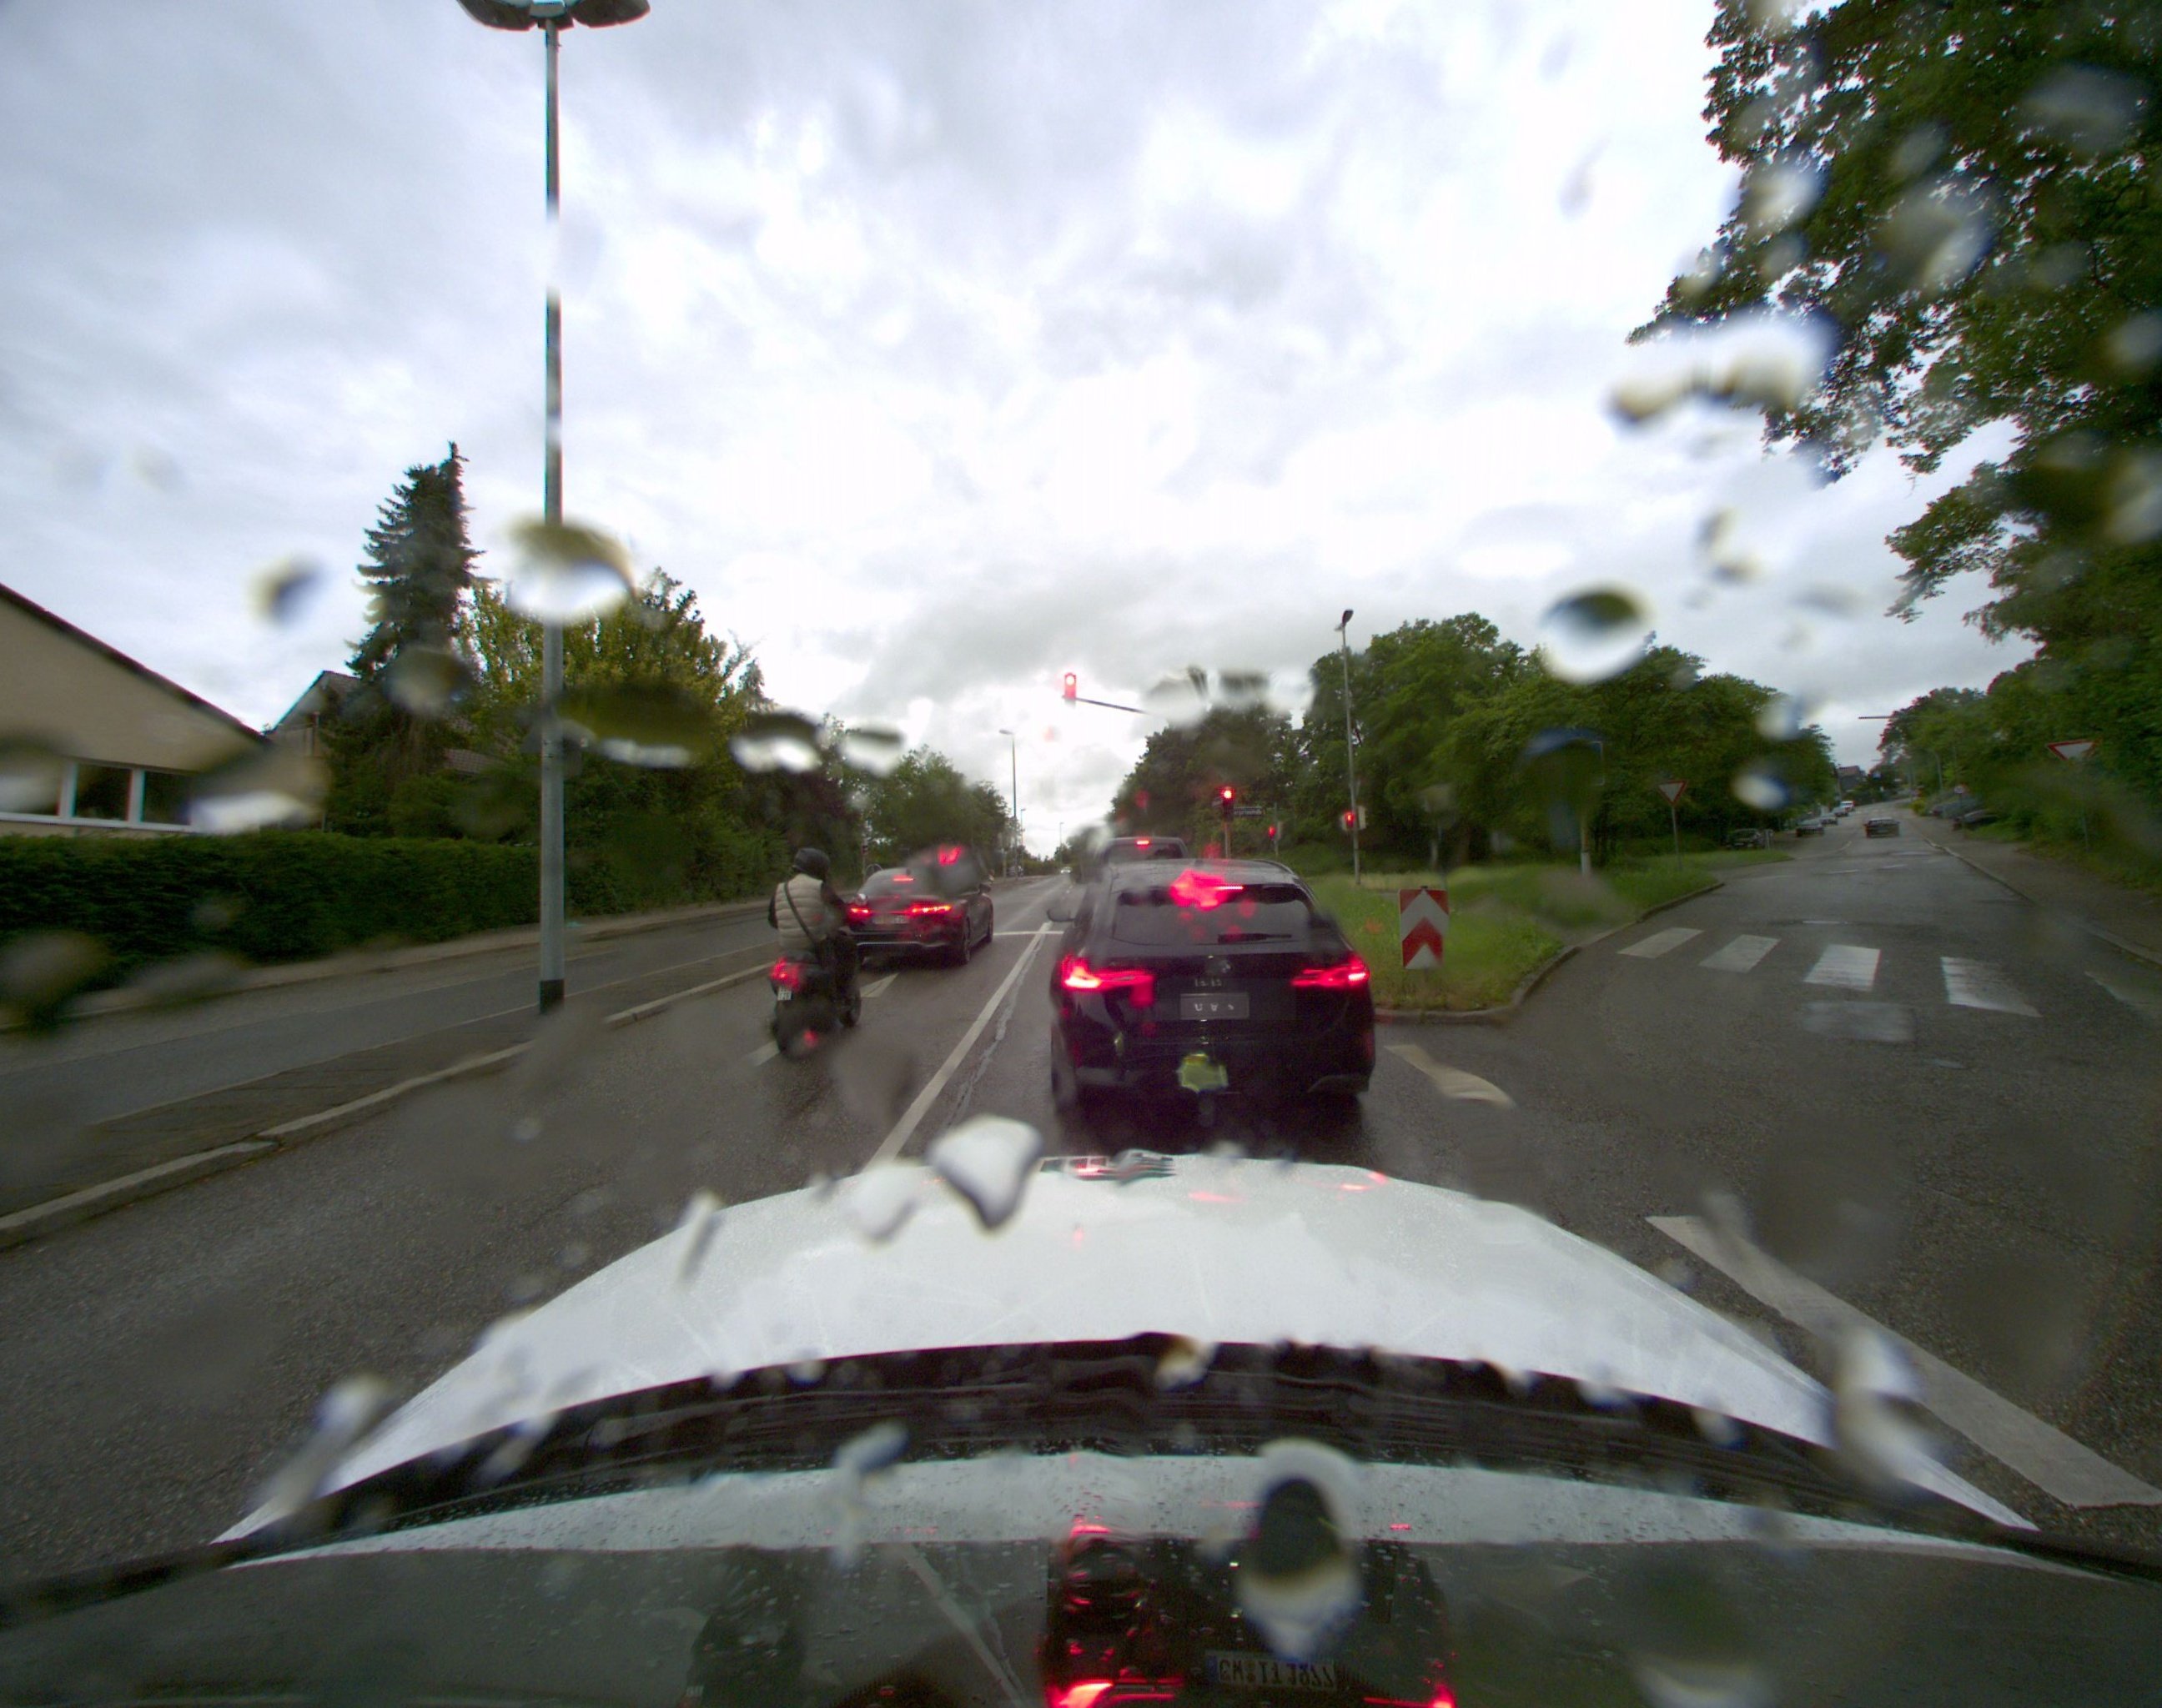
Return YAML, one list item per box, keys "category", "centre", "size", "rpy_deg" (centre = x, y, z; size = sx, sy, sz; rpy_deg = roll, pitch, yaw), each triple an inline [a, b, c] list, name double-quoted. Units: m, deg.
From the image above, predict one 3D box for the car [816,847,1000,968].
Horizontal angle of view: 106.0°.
- category: "car"
  centre: [-2.574, 0.759, 13.258]
  size: [1.987, 1.527, 4.326]
  rpy_deg: [-4, -1, 0]

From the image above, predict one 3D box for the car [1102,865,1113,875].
- category: "car"
  centre: [4.103, 2.442, 125.132]
  size: [1.691, 1.427, 3.516]
  rpy_deg: [-3, 0, 2]

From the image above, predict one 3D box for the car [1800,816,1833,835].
- category: "car"
  centre: [66.291, -2.536, 73.386]
  size: [4.318, 1.450, 1.881]
  rpy_deg: [0, -1, -44]

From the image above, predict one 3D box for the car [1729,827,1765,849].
- category: "car"
  centre: [46.036, -1.144, 56.271]
  size: [1.655, 1.370, 3.512]
  rpy_deg: [-3, 0, 43]

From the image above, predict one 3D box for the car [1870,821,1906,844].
- category: "car"
  centre: [60.717, -1.613, 61.232]
  size: [4.187, 1.442, 1.795]
  rpy_deg: [-4, 1, -44]

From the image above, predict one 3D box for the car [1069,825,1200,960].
- category: "car"
  centre: [0.841, 0.562, 13.459]
  size: [1.811, 1.868, 3.954]
  rpy_deg: [-1, -1, 2]

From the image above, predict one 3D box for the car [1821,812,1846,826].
- category: "car"
  centre: [88.225, -4.067, 95.514]
  size: [1.971, 1.446, 4.321]
  rpy_deg: [-2, -1, 40]

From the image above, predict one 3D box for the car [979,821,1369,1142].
- category: "car"
  centre: [0.657, 0.674, 6.323]
  size: [1.889, 1.551, 4.621]
  rpy_deg: [-1, -1, 5]

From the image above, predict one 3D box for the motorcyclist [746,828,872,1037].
- category: "motorcyclist"
  centre: [-2.282, 0.636, 6.902]
  size: [0.762, 1.642, 0.674]
  rpy_deg: [-3, -1, 1]

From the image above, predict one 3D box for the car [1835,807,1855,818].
- category: "car"
  centre: [114.521, -6.236, 122.036]
  size: [1.880, 1.397, 4.193]
  rpy_deg: [-2, -1, 40]

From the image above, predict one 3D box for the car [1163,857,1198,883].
- category: "car"
  centre: [6.345, 1.018, 52.415]
  size: [1.866, 1.543, 3.954]
  rpy_deg: [-4, -1, 2]

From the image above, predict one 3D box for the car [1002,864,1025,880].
- category: "car"
  centre: [-8.139, 2.146, 98.541]
  size: [1.984, 1.826, 4.006]
  rpy_deg: [-4, -1, 6]

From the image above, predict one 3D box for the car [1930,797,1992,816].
- category: "car"
  centre: [87.631, -4.713, 81.158]
  size: [3.949, 1.574, 1.785]
  rpy_deg: [-5, -1, 42]

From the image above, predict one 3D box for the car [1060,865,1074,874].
- category: "car"
  centre: [-2.574, 2.955, 154.427]
  size: [1.982, 1.611, 3.680]
  rpy_deg: [-4, -1, 9]

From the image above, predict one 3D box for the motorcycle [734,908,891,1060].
- category: "motorcycle"
  centre: [-2.243, 1.040, 7.048]
  size: [0.688, 1.053, 1.748]
  rpy_deg: [-3, -2, 2]
